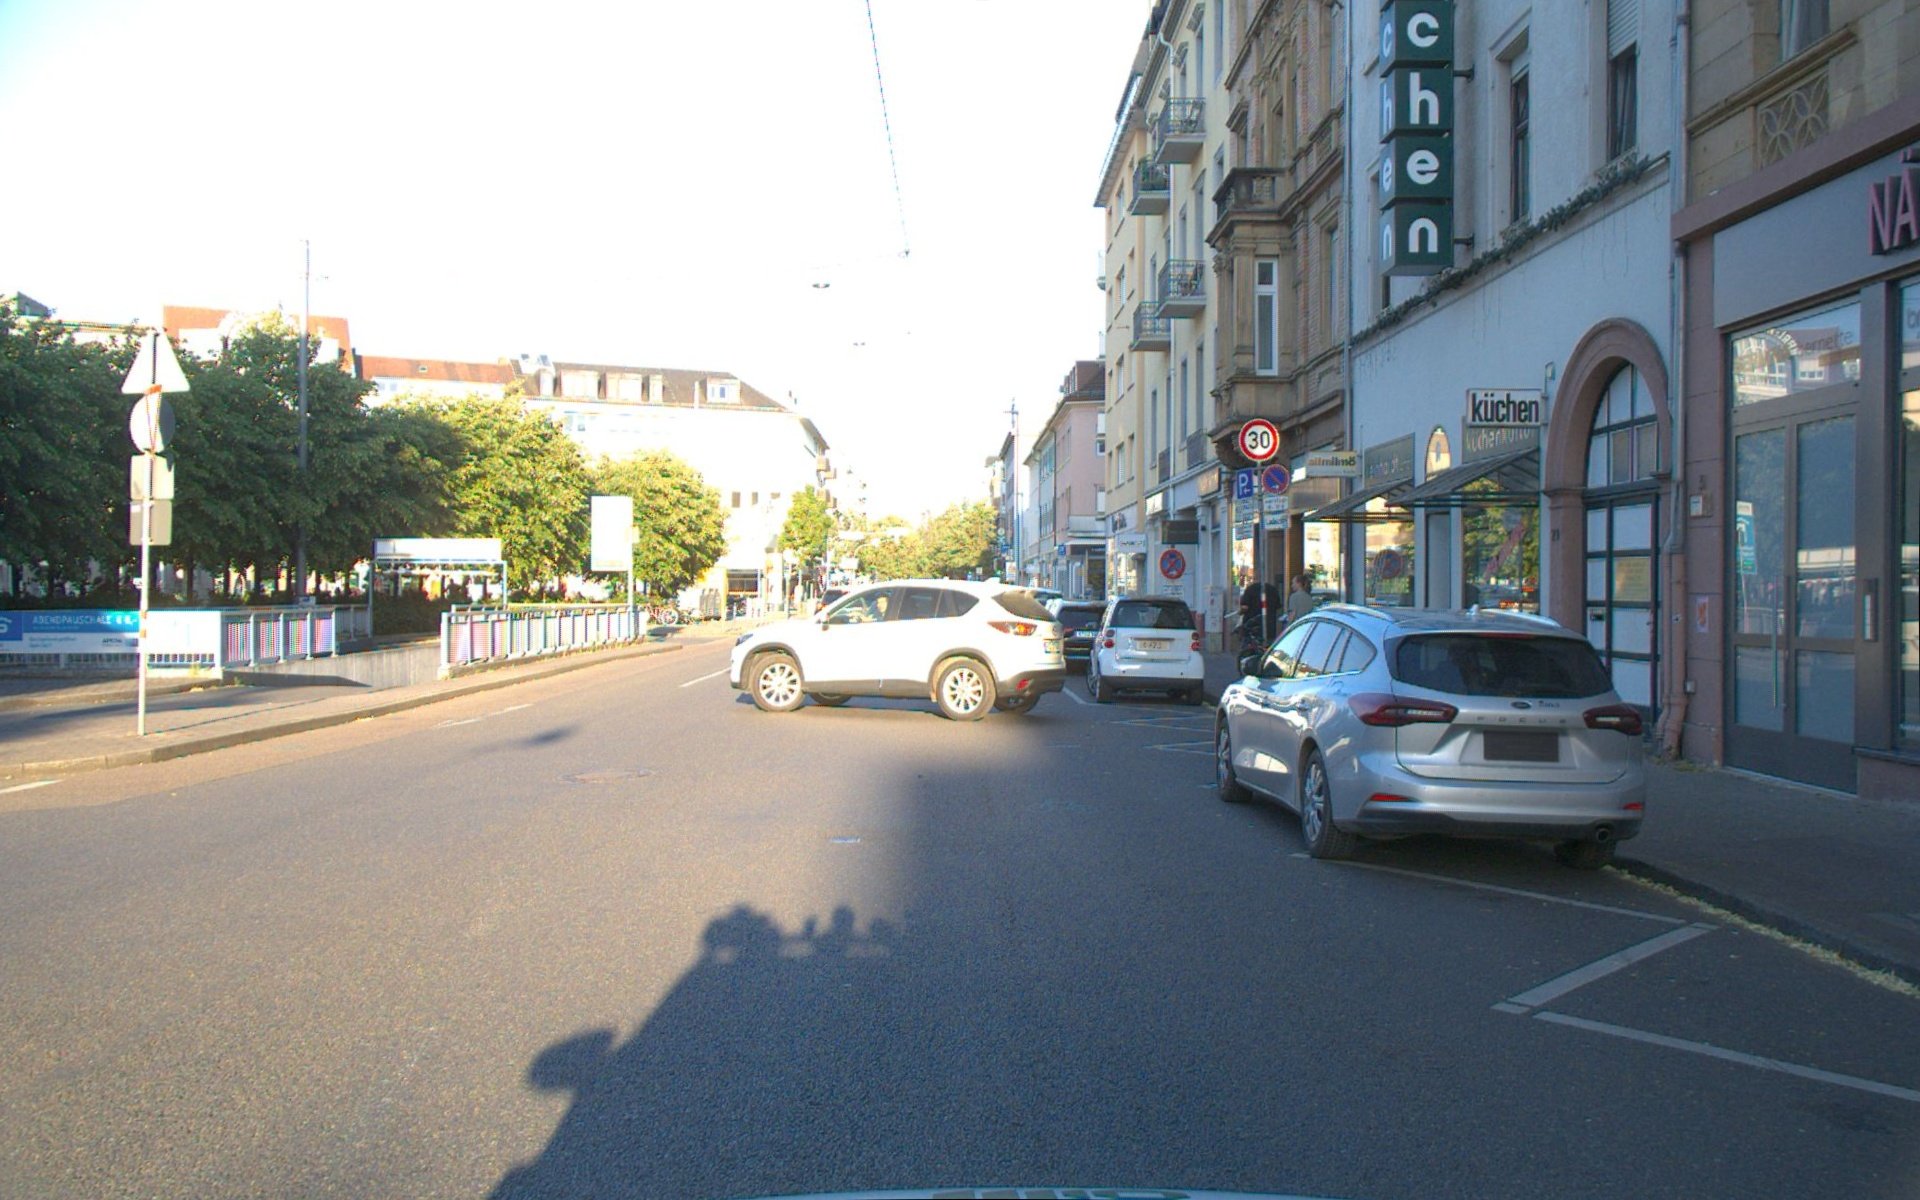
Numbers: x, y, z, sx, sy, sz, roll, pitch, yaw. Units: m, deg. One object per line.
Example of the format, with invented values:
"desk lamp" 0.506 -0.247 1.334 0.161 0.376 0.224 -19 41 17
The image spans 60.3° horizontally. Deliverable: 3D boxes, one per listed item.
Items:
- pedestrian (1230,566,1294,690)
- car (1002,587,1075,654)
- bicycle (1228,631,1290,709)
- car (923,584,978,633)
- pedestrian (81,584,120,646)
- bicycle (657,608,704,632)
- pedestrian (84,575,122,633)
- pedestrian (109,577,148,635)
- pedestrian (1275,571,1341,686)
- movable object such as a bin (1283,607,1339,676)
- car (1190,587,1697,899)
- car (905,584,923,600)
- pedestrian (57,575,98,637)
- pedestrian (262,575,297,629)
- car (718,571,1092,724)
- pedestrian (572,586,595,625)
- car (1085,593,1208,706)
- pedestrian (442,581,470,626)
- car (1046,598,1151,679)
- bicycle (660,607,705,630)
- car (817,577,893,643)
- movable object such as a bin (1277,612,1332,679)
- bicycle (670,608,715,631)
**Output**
"pedestrian" 4.687 0.420 25.694 0.757 1.859 1.010 -1 0 -1
"car" 2.098 0.543 44.992 1.694 1.679 4.284 2 0 0
"bicycle" 4.263 0.980 23.681 0.494 1.034 1.946 0 0 -2
"car" -0.381 0.290 59.186 1.858 1.608 3.999 2 0 -1
"pedestrian" -22.641 0.390 43.572 0.663 1.623 0.568 1 0 18
"bicycle" -11.411 0.816 67.491 1.790 0.868 0.483 3 0 -5
"pedestrian" -24.164 0.117 46.639 0.774 1.623 0.568 1 0 19
"pedestrian" -23.272 0.164 46.280 0.774 1.623 0.568 1 0 19
"pedestrian" 5.409 0.428 25.771 0.757 1.741 1.042 -1 0 -1
"movable object such as a bin" 5.754 0.674 27.150 0.758 1.089 0.618 -2 0 -1
"car" 2.858 0.753 11.010 1.724 1.563 4.819 2 0 -3
"car" -4.664 -0.797 167.051 1.743 1.574 3.999 1 0 -2
"pedestrian" -23.441 0.166 43.932 0.774 1.623 0.568 1 0 19
"pedestrian" -20.725 0.050 50.386 0.663 1.623 0.677 1 0 18
"car" -0.698 0.541 21.139 4.362 1.792 1.999 0 0 24
"pedestrian" -16.113 0.241 70.807 0.774 1.623 0.568 1 0 19
"car" 2.772 0.715 25.134 1.500 1.563 3.283 1 0 0
"pedestrian" -18.507 0.127 60.743 0.774 1.623 0.568 1 0 19
"car" 2.757 0.749 33.726 1.694 1.473 4.524 2 0 0
"bicycle" -11.762 0.785 70.200 1.790 0.868 0.483 3 0 -5
"car" -2.766 0.251 44.443 1.858 1.678 4.103 1 0 -1
"movable object such as a bin" 5.811 0.762 27.888 0.758 1.089 0.618 -2 0 -1
"bicycle" -11.219 0.817 69.298 1.790 0.868 0.483 3 0 -5
